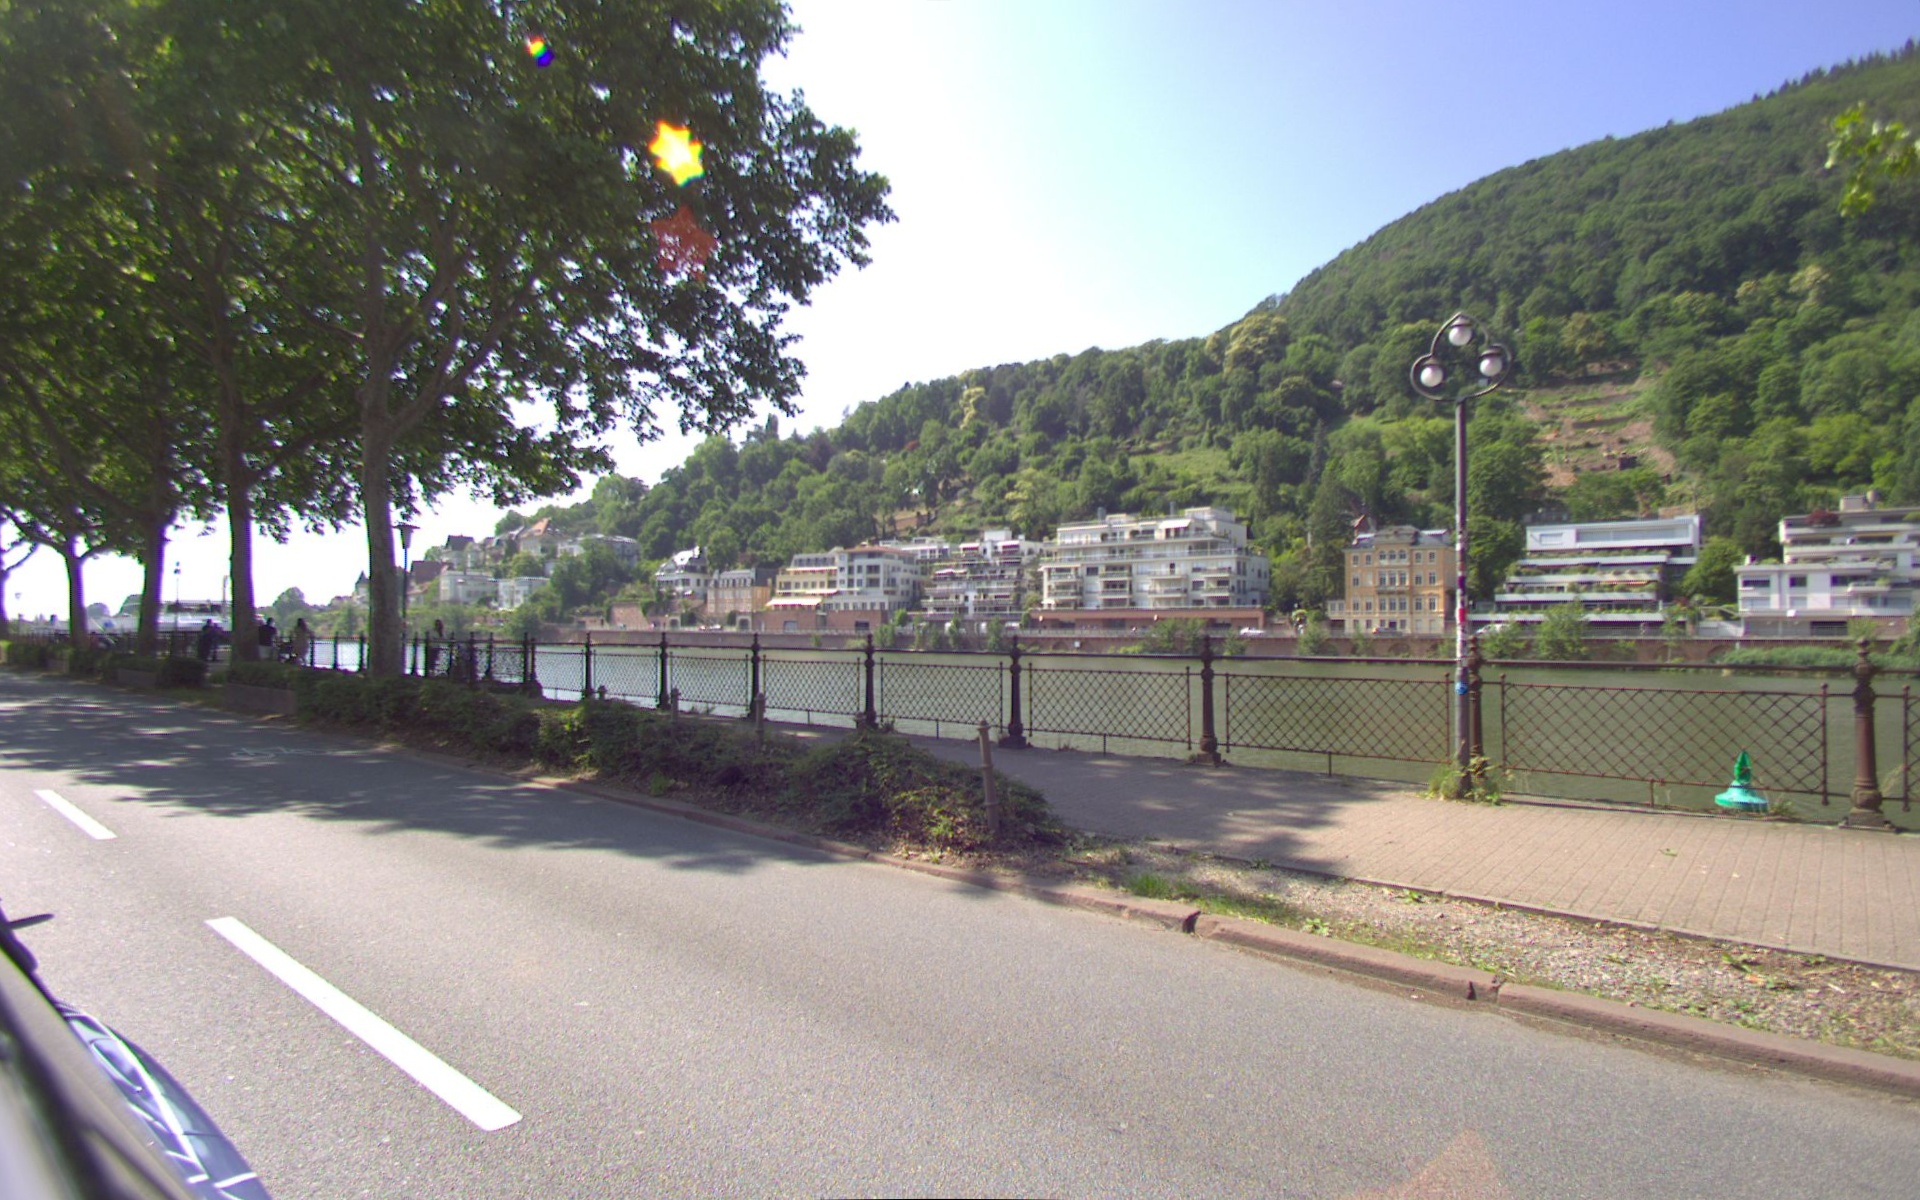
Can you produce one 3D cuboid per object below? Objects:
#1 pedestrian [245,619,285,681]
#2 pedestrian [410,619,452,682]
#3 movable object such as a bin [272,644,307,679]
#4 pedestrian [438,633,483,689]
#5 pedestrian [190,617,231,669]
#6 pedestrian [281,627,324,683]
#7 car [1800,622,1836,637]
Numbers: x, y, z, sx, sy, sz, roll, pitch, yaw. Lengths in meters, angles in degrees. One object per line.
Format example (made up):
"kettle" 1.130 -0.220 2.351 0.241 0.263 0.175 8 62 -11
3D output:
"pedestrian" -21.384 1.523 31.136 0.928 1.863 0.796 -1 0 41
"pedestrian" -15.126 1.436 28.945 0.829 1.771 0.767 -2 -4 40
"movable object such as a bin" -21.110 1.933 31.880 0.782 1.057 0.696 -1 0 36
"pedestrian" -12.797 1.555 25.916 0.770 1.398 0.758 -2 -3 40
"pedestrian" -30.300 1.733 40.933 1.032 2.029 1.038 -1 0 -19
"pedestrian" -20.360 1.689 31.347 1.059 1.647 0.886 -1 0 42
"car" 125.353 4.314 147.870 3.998 2.029 1.973 -2 -1 41
